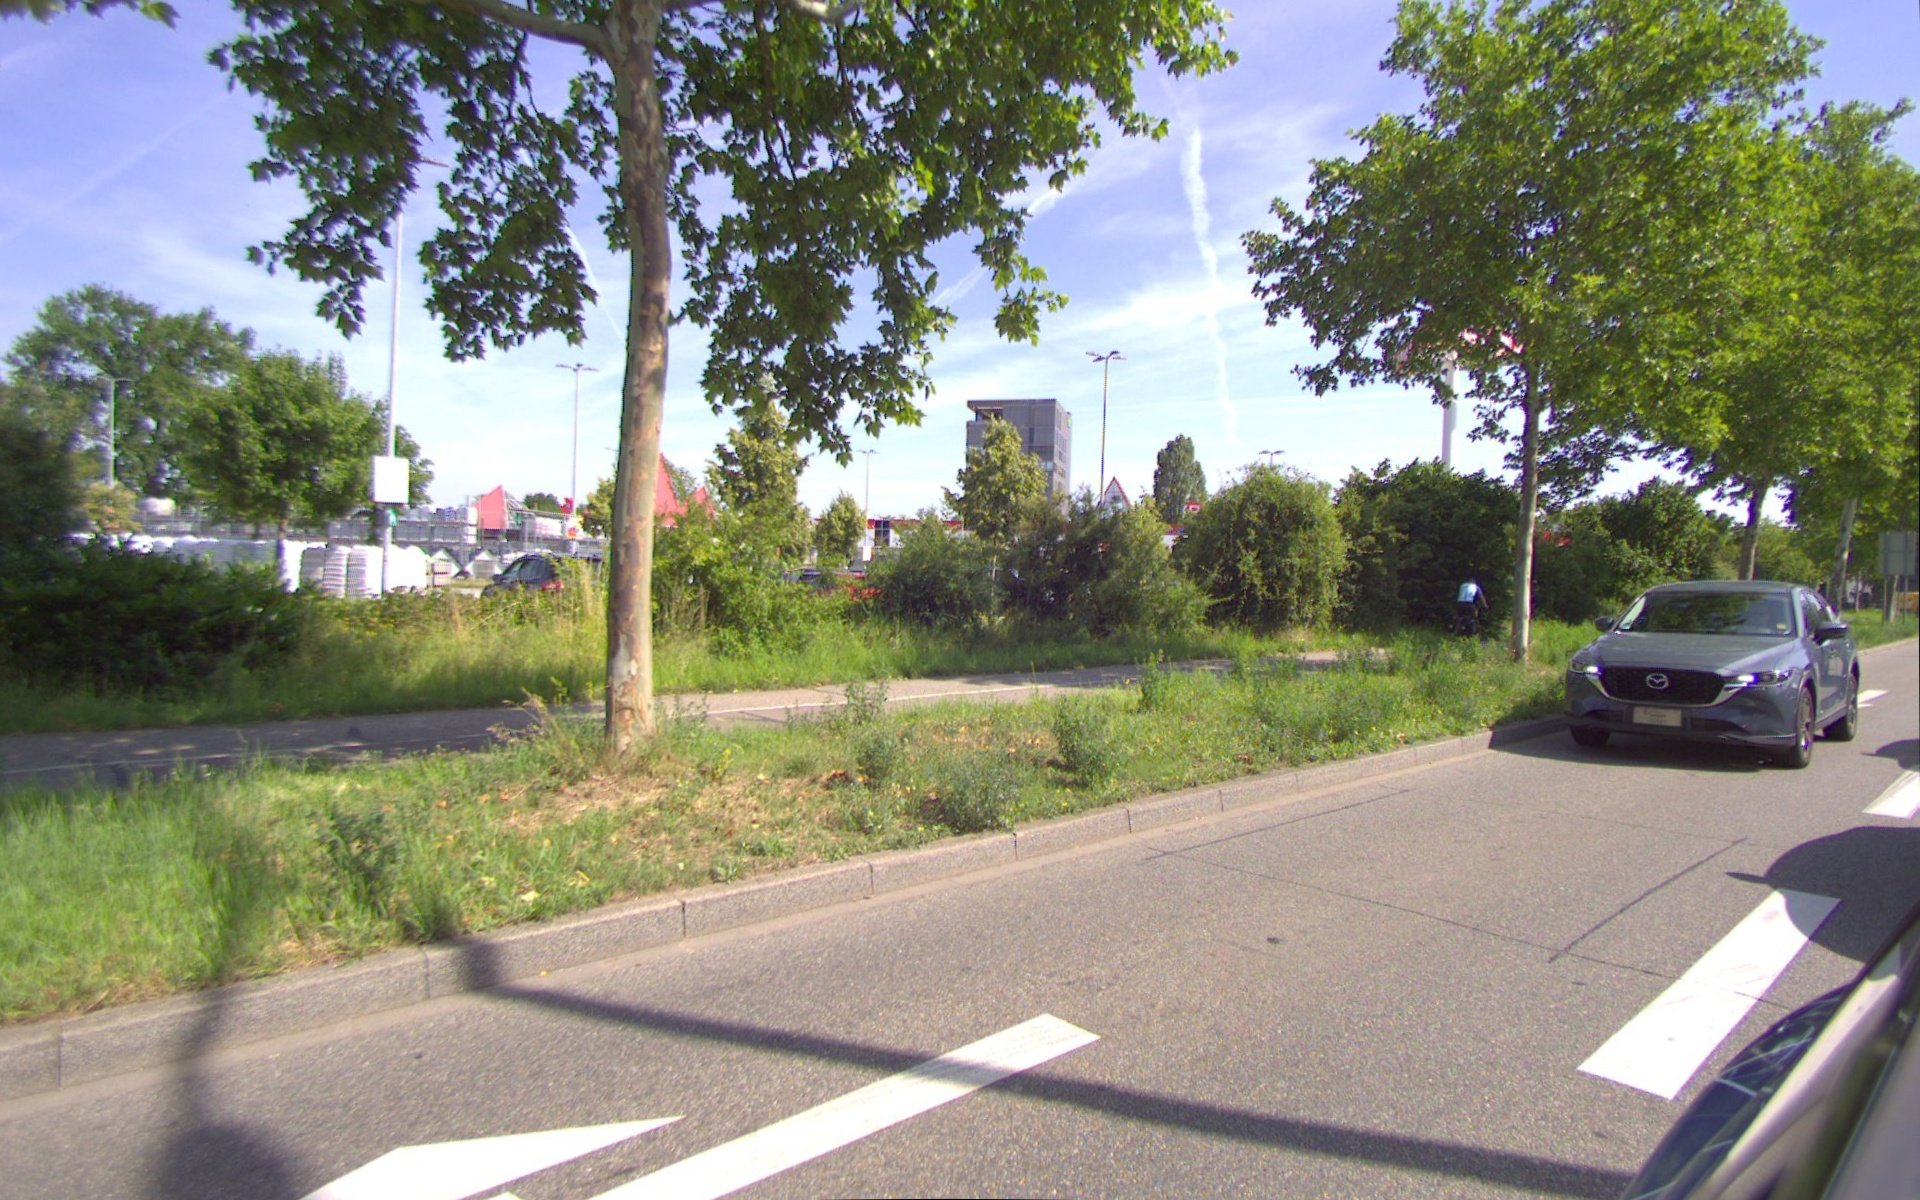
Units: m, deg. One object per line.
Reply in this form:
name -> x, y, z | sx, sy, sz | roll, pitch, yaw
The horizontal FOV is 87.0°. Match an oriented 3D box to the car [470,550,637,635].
car -> -8.636, -0.214, 21.359 | 3.850, 1.604, 1.821 | 3, 2, 43

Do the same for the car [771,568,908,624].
car -> -3.230, -0.146, 26.822 | 3.553, 1.316, 1.740 | 3, 2, 43

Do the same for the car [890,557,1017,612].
car -> -0.189, -0.526, 32.593 | 3.801, 1.604, 1.844 | 2, 2, 11

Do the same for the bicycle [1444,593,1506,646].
bicycle -> 12.815, 0.464, 25.161 | 1.900, 1.252, 0.686 | 0, 2, -41

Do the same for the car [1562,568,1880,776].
car -> 7.887, 0.564, 10.325 | 4.418, 1.680, 1.768 | 0, 0, -42

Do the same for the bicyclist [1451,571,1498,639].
bicyclist -> 12.774, 0.117, 25.114 | 0.984, 1.651, 0.686 | 0, 2, -41
